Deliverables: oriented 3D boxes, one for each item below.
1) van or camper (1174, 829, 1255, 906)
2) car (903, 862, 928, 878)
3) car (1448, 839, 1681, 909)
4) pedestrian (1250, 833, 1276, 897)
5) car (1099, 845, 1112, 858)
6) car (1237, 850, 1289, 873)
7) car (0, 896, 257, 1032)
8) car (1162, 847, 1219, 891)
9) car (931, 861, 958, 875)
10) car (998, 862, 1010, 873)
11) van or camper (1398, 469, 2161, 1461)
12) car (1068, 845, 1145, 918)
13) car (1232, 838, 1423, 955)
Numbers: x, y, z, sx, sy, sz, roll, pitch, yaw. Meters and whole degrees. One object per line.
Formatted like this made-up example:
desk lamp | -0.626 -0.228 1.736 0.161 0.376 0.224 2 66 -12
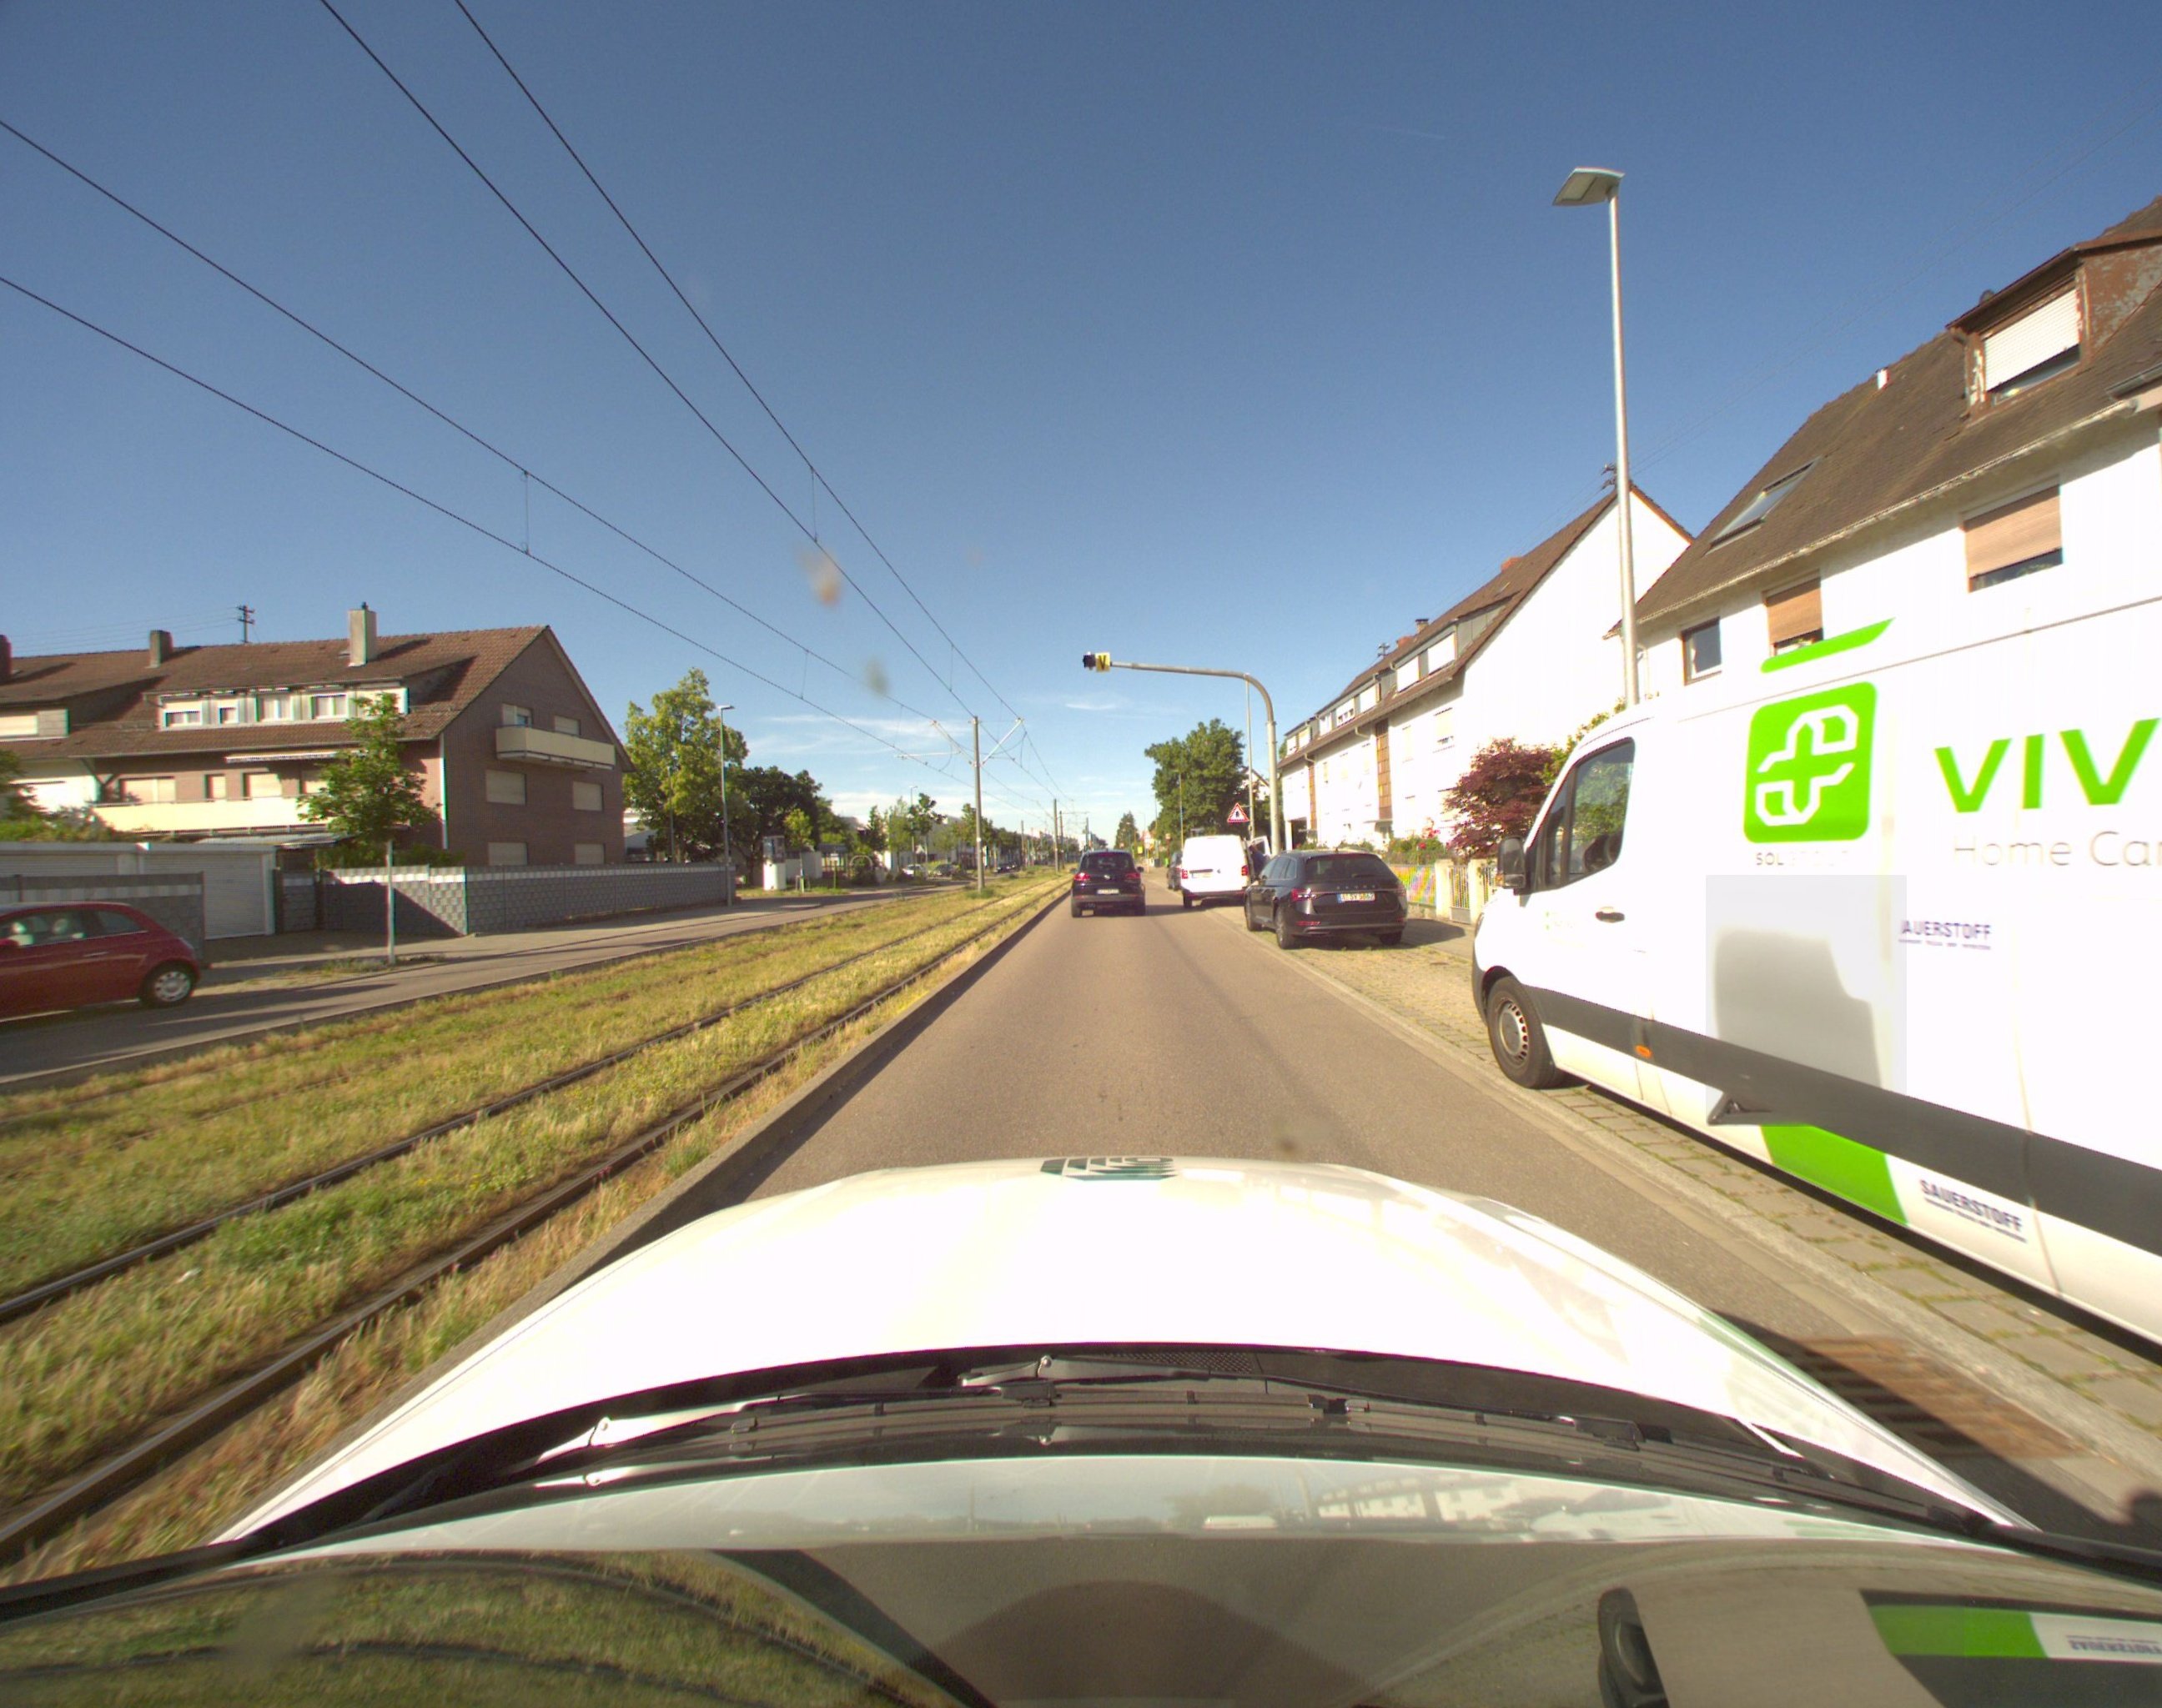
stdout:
van or camper | 3.985 0.352 24.171 2.015 1.956 5.309 -3 0 10
car | -15.516 1.494 76.585 1.539 1.491 3.775 -1 -1 1
car | 12.007 0.498 20.465 4.696 1.477 1.906 -3 -1 0
pedestrian | 5.499 0.327 24.618 0.694 1.912 0.761 -1 -1 10
car | 4.781 -0.472 158.696 2.385 2.564 5.533 -2 -1 2
car | 13.608 0.555 61.098 3.579 1.530 1.648 -2 -1 3
car | -13.210 1.371 10.088 1.688 1.405 4.081 -3 0 2
car | 4.691 0.614 35.436 1.785 1.628 4.862 -4 0 1
car | -15.087 1.486 89.913 1.801 1.461 4.325 -1 -1 6
car | -11.536 2.021 121.696 1.685 1.389 4.380 -4 -1 -5
van or camper | 3.506 0.235 3.396 1.986 2.271 6.307 -4 -1 2
car | 0.618 0.677 21.318 1.770 1.670 3.999 -2 -1 0
car | 3.845 0.607 13.718 1.742 1.494 5.157 -4 -1 2
